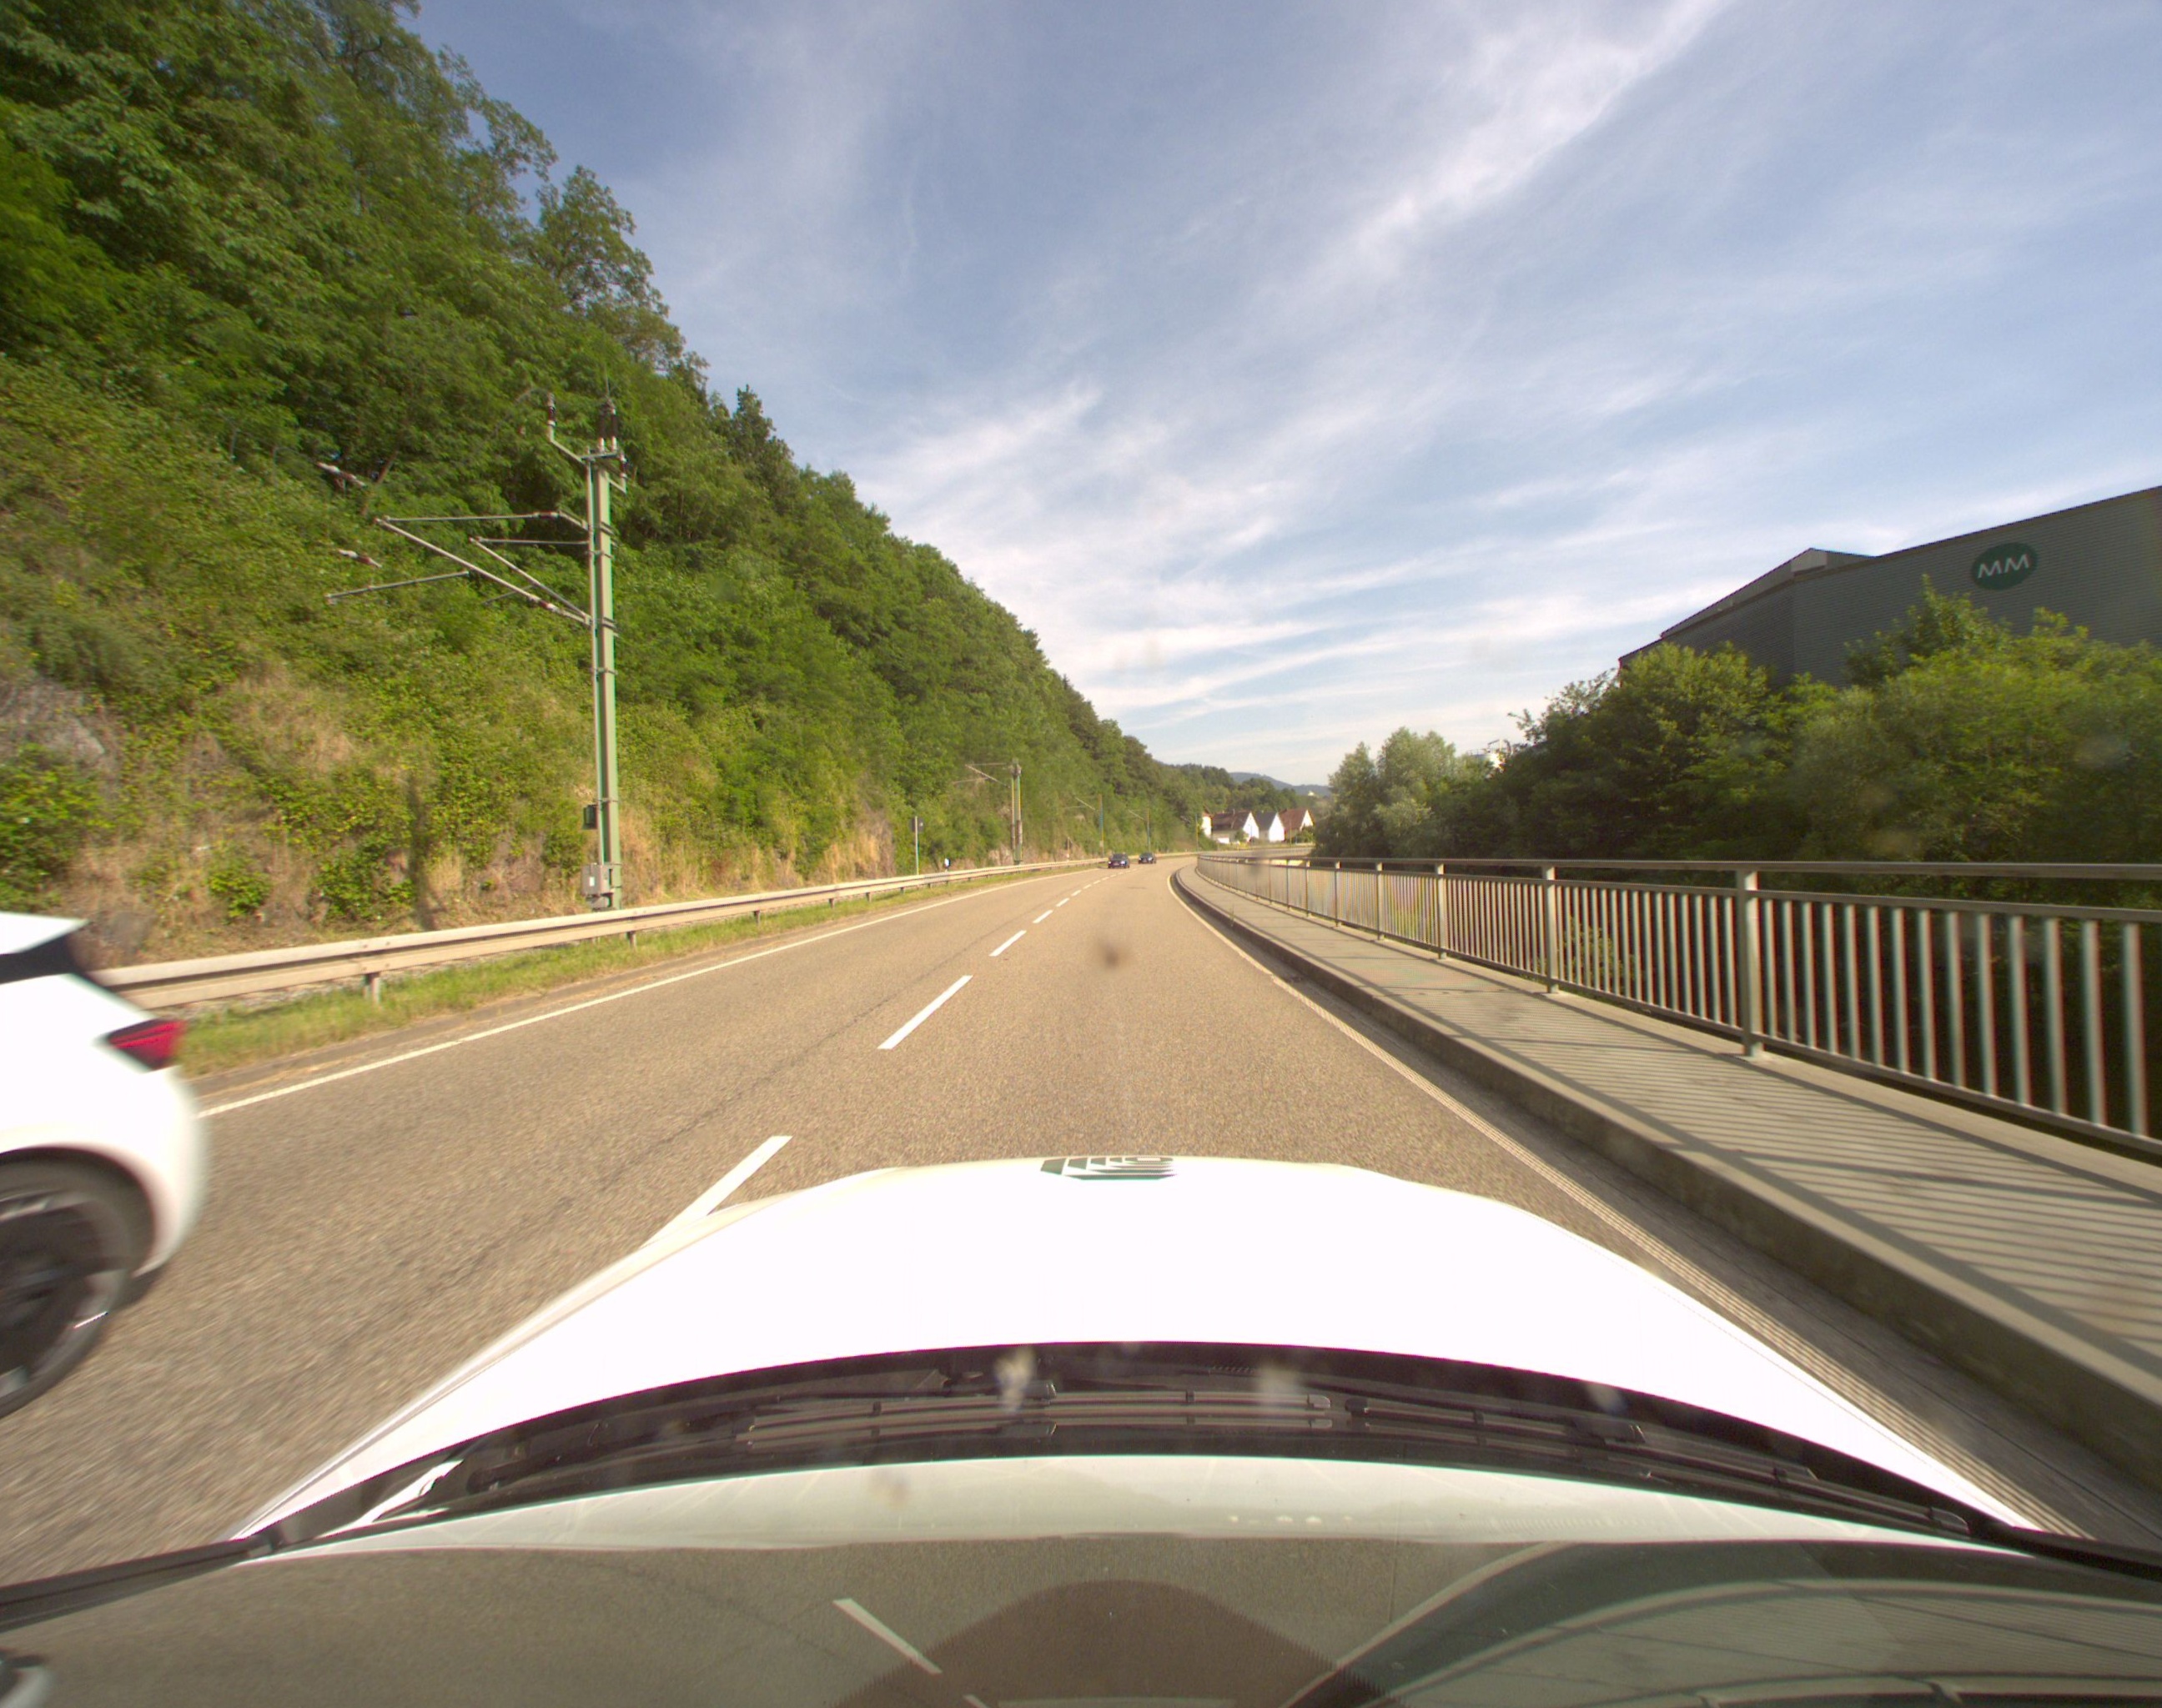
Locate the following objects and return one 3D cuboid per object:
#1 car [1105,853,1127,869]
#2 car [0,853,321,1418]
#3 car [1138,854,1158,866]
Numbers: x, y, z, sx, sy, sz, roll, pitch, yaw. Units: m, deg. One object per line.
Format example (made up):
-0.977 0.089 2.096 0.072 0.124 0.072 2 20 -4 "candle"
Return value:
3.420 0.652 79.104 1.838 1.440 3.904 -4 0 6 "car"
-3.907 0.780 0.853 1.841 1.544 4.604 -1 0 1 "car"
8.371 0.706 101.352 1.834 1.402 4.492 -1 0 13 "car"
